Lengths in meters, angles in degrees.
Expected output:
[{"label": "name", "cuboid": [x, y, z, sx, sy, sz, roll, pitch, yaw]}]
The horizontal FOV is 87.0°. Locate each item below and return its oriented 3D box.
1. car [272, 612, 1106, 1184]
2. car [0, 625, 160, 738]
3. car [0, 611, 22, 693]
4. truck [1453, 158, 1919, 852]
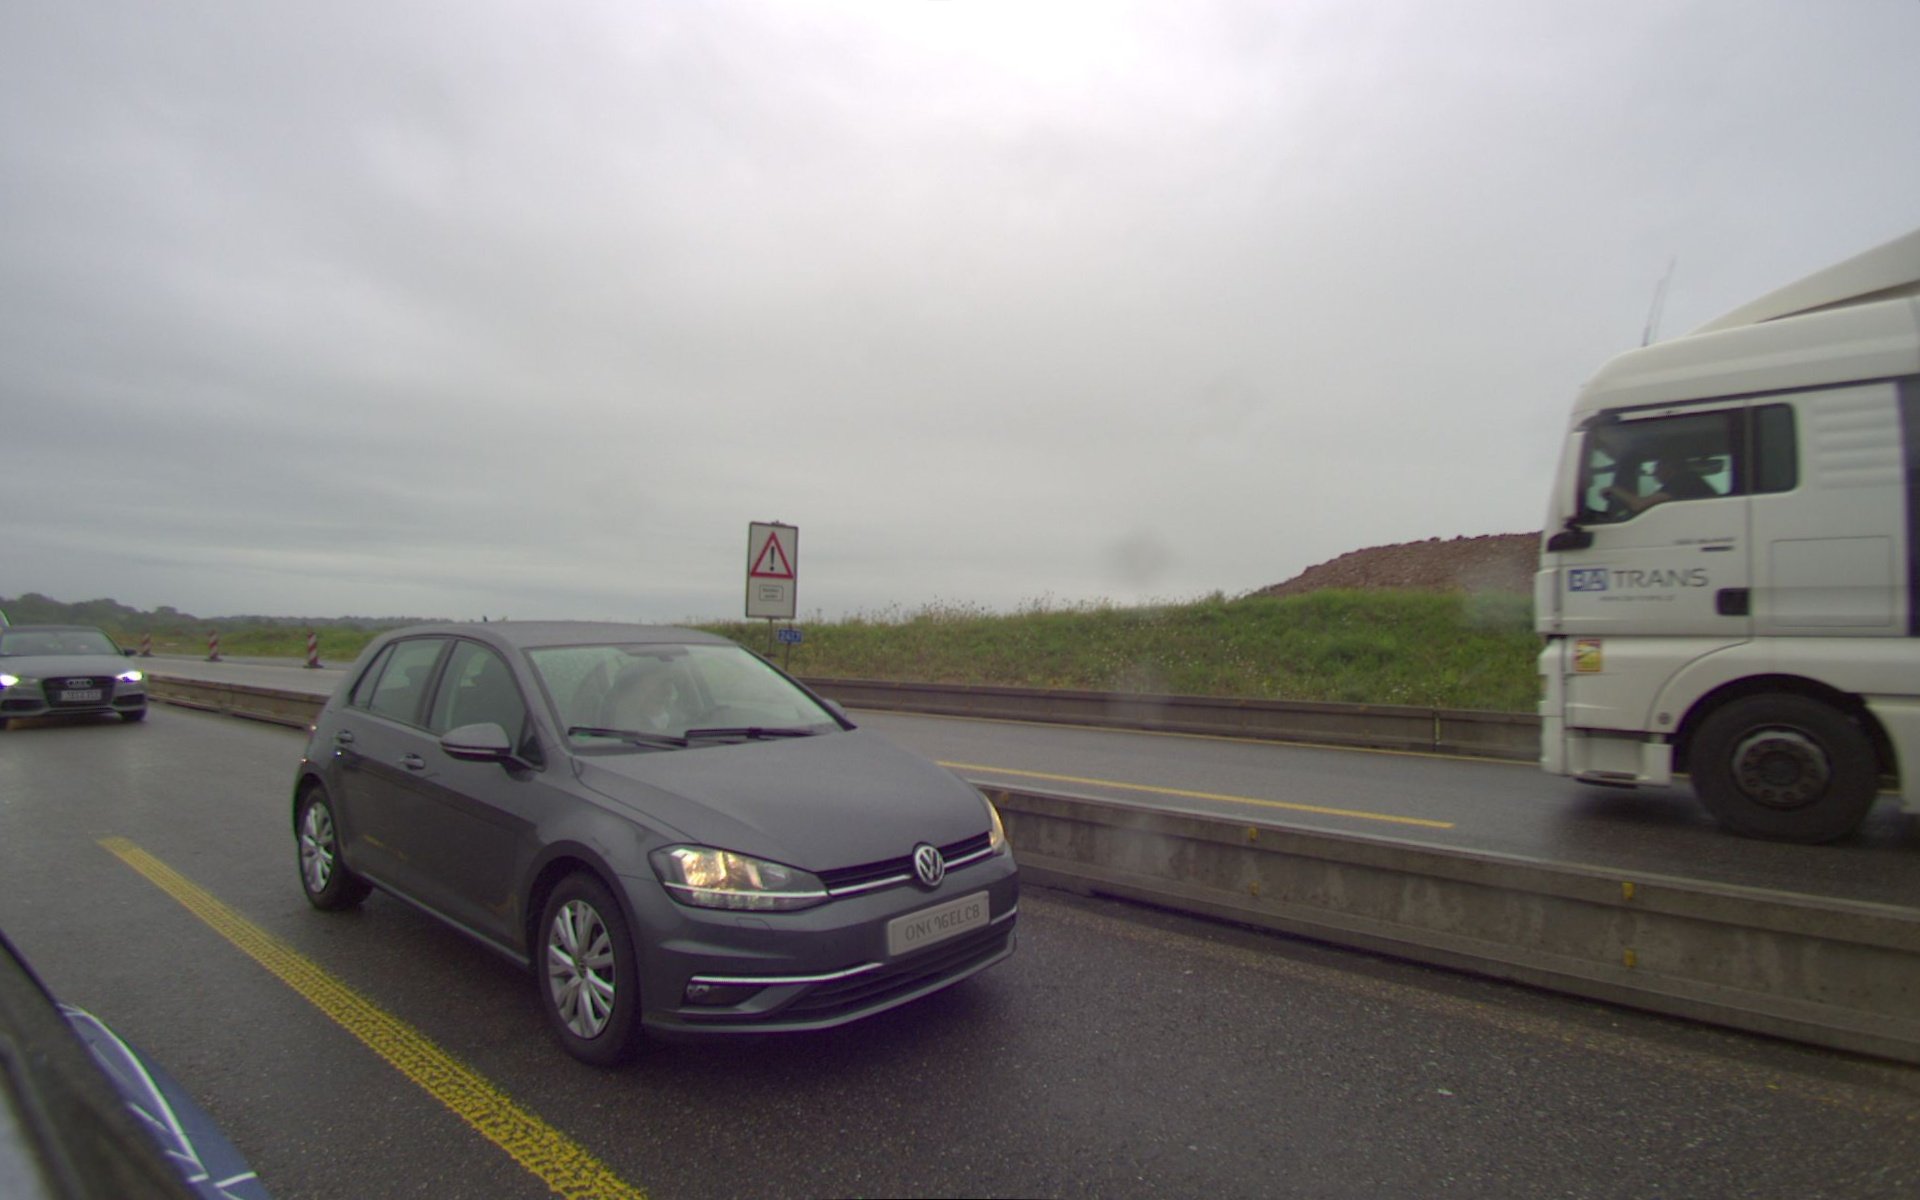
[{"label": "car", "cuboid": [-1.512, 0.776, 4.534, 4.079, 1.433, 1.632, 0, -1, 41]}, {"label": "car", "cuboid": [-13.701, 1.115, 15.188, 4.264, 1.407, 1.778, 0, 0, 39]}, {"label": "car", "cuboid": [-24.390, 1.212, 24.385, 5.177, 1.873, 2.133, 0, 0, 41]}, {"label": "truck", "cuboid": [6.841, -0.574, 6.701, 5.817, 4.065, 2.759, -2, -2, 42]}]
